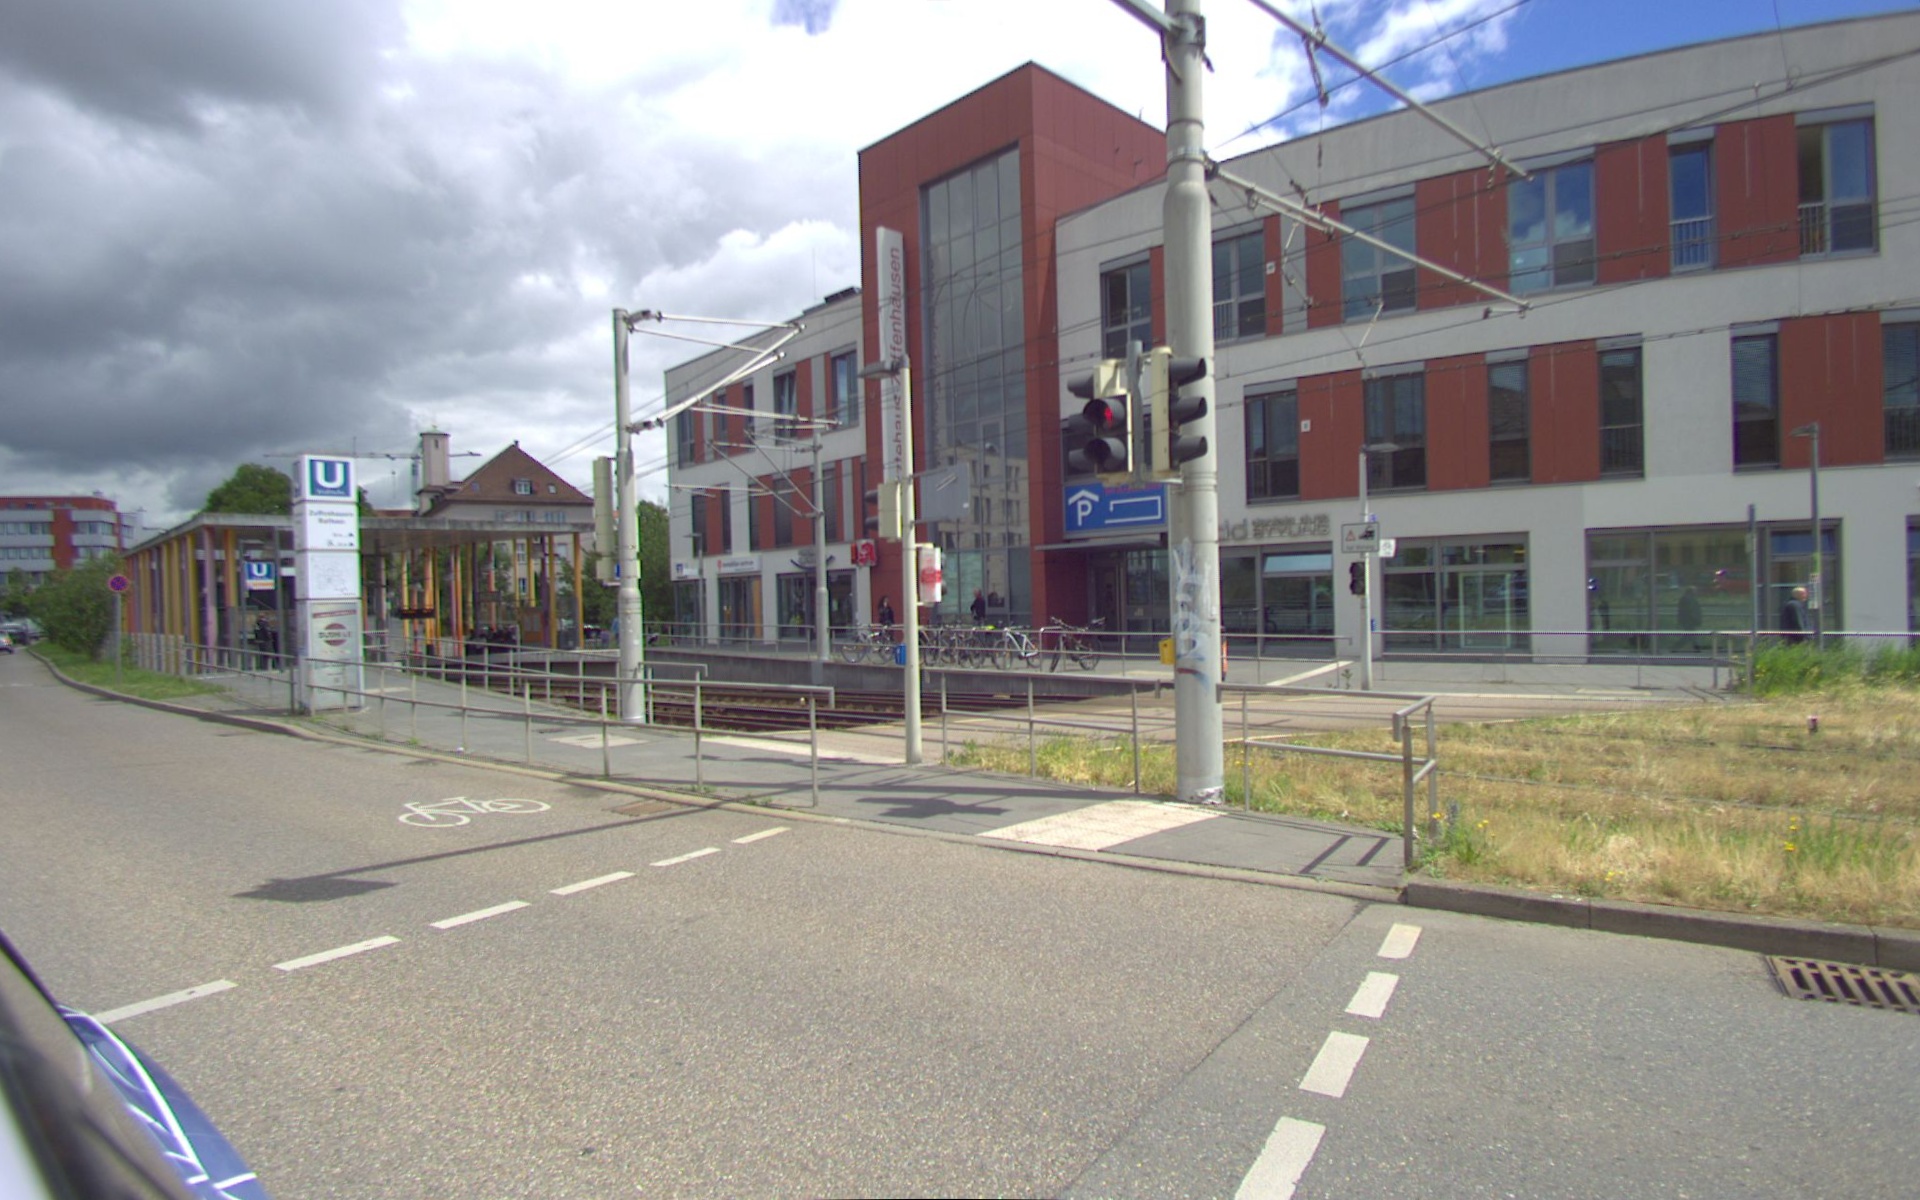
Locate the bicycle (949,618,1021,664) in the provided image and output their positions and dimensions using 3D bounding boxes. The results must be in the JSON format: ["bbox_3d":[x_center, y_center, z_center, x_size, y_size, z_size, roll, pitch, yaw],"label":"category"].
[{"bbox_3d":[0.599,0.935,23.303,1.835,0.970,0.455,-1,0,-42],"label":"bicycle"}]

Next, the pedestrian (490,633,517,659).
[{"bbox_3d":[-21.448,2.150,47.531,0.930,1.143,0.887,0,-1,-43],"label":"pedestrian"}]

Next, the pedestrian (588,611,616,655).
[{"bbox_3d":[-16.467,1.506,46.548,0.851,1.983,1.108,0,-1,-40],"label":"pedestrian"}]

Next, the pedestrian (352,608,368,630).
[{"bbox_3d":[-56.076,1.766,94.610,1.111,2.029,0.817,0,-1,-40],"label":"pedestrian"}]

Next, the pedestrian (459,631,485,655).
[{"bbox_3d":[-24.259,2.138,50.345,0.930,1.143,0.887,0,-1,-43],"label":"pedestrian"}]

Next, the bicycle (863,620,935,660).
[{"bbox_3d":[-1.503,0.982,25.278,1.833,0.939,0.455,-1,0,-37],"label":"bicycle"}]

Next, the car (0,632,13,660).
[{"bbox_3d":[-57.557,2.745,60.240,1.566,1.548,3.950,-5,3,-44],"label":"car"}]

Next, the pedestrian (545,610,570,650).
[{"bbox_3d":[-20.325,1.514,51.108,0.851,1.983,1.107,1,-1,-43],"label":"pedestrian"}]

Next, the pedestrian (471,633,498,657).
[{"bbox_3d":[-22.926,2.167,48.759,0.930,1.143,0.887,0,-1,-43],"label":"pedestrian"}]

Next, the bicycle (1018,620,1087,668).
[{"bbox_3d":[2.014,0.932,21.928,1.714,0.965,0.428,-1,0,-42],"label":"bicycle"}]

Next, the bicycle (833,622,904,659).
[{"bbox_3d":[-2.341,1.027,26.033,1.833,0.888,0.455,-1,0,-36],"label":"bicycle"}]

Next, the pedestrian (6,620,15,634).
[{"bbox_3d":[-105.795,3.038,112.772,0.663,1.524,0.784,-1,-1,-34],"label":"pedestrian"}]

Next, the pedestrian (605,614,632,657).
[{"bbox_3d":[-15.871,1.638,47.053,0.851,1.983,1.108,0,-1,-40],"label":"pedestrian"}]

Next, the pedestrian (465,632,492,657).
[{"bbox_3d":[-23.560,2.177,49.528,0.930,1.143,0.887,0,-1,-43],"label":"pedestrian"}]

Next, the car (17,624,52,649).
[{"bbox_3d":[-81.253,3.190,88.876,1.968,2.092,4.008,0,-1,-38],"label":"car"}]

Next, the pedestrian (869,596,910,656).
[{"bbox_3d":[-2.067,0.750,29.590,0.934,1.711,0.778,-1,-1,38],"label":"pedestrian"}]

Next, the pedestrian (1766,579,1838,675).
[{"bbox_3d":[14.268,0.456,17.169,0.686,1.592,0.730,-2,-1,22],"label":"pedestrian"}]

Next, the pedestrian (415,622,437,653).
[{"bbox_3d":[-36.457,2.548,69.139,1.111,2.029,1.181,0,-1,-40],"label":"pedestrian"}]

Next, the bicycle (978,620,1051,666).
[{"bbox_3d":[1.232,0.940,22.617,1.835,0.942,0.455,-1,0,-42],"label":"bicycle"}]

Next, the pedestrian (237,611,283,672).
[{"bbox_3d":[-22.338,1.304,32.316,1.089,1.929,0.865,1,-1,-43],"label":"pedestrian"}]

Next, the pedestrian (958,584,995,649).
[{"bbox_3d":[0.490,0.467,29.467,0.857,1.859,0.875,0,1,17],"label":"pedestrian"}]

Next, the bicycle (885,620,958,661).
[{"bbox_3d":[-0.934,0.974,24.673,1.833,0.929,0.455,-1,0,-37],"label":"bicycle"}]

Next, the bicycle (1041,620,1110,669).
[{"bbox_3d":[2.470,0.928,21.488,1.714,0.959,0.428,-1,0,-42],"label":"bicycle"}]

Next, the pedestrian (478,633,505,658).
[{"bbox_3d":[-22.259,2.158,48.070,0.930,1.143,0.887,0,-1,-43],"label":"pedestrian"}]

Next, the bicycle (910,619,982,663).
[{"bbox_3d":[-0.308,0.955,24.024,1.834,0.946,0.455,-1,0,-40],"label":"bicycle"}]
